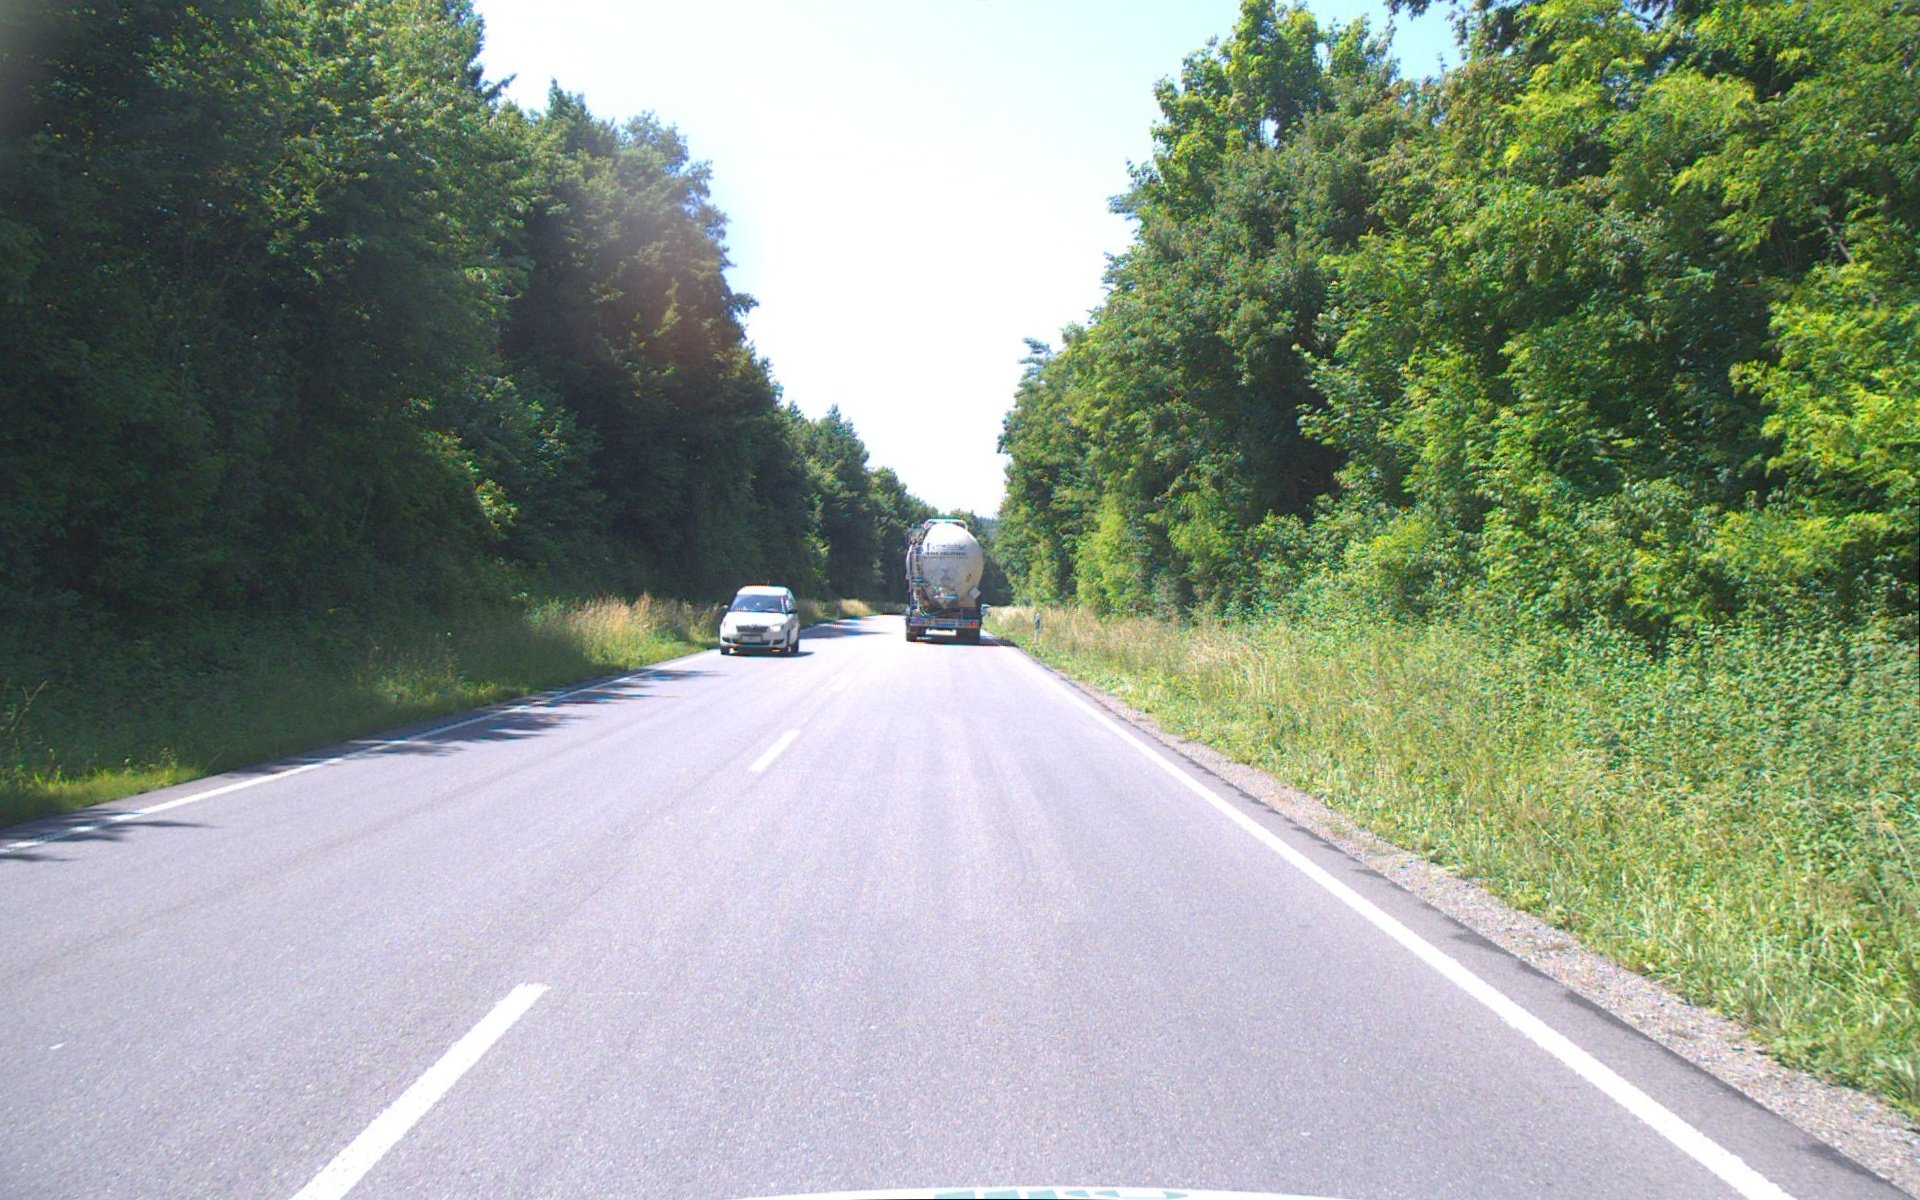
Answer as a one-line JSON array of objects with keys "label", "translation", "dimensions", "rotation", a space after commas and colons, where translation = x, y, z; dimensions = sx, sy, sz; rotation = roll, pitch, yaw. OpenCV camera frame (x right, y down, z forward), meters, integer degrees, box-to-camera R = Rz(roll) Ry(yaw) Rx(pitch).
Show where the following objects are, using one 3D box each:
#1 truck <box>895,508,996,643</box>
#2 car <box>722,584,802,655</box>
[{"label": "truck", "translation": [-0.599, -0.750, 59.879], "dimensions": [2.988, 4.068, 15.632], "rotation": [3, 0, -1]}, {"label": "car", "translation": [-4.788, 0.437, 40.364], "dimensions": [1.481, 1.620, 3.793], "rotation": [1, 0, 0]}]
